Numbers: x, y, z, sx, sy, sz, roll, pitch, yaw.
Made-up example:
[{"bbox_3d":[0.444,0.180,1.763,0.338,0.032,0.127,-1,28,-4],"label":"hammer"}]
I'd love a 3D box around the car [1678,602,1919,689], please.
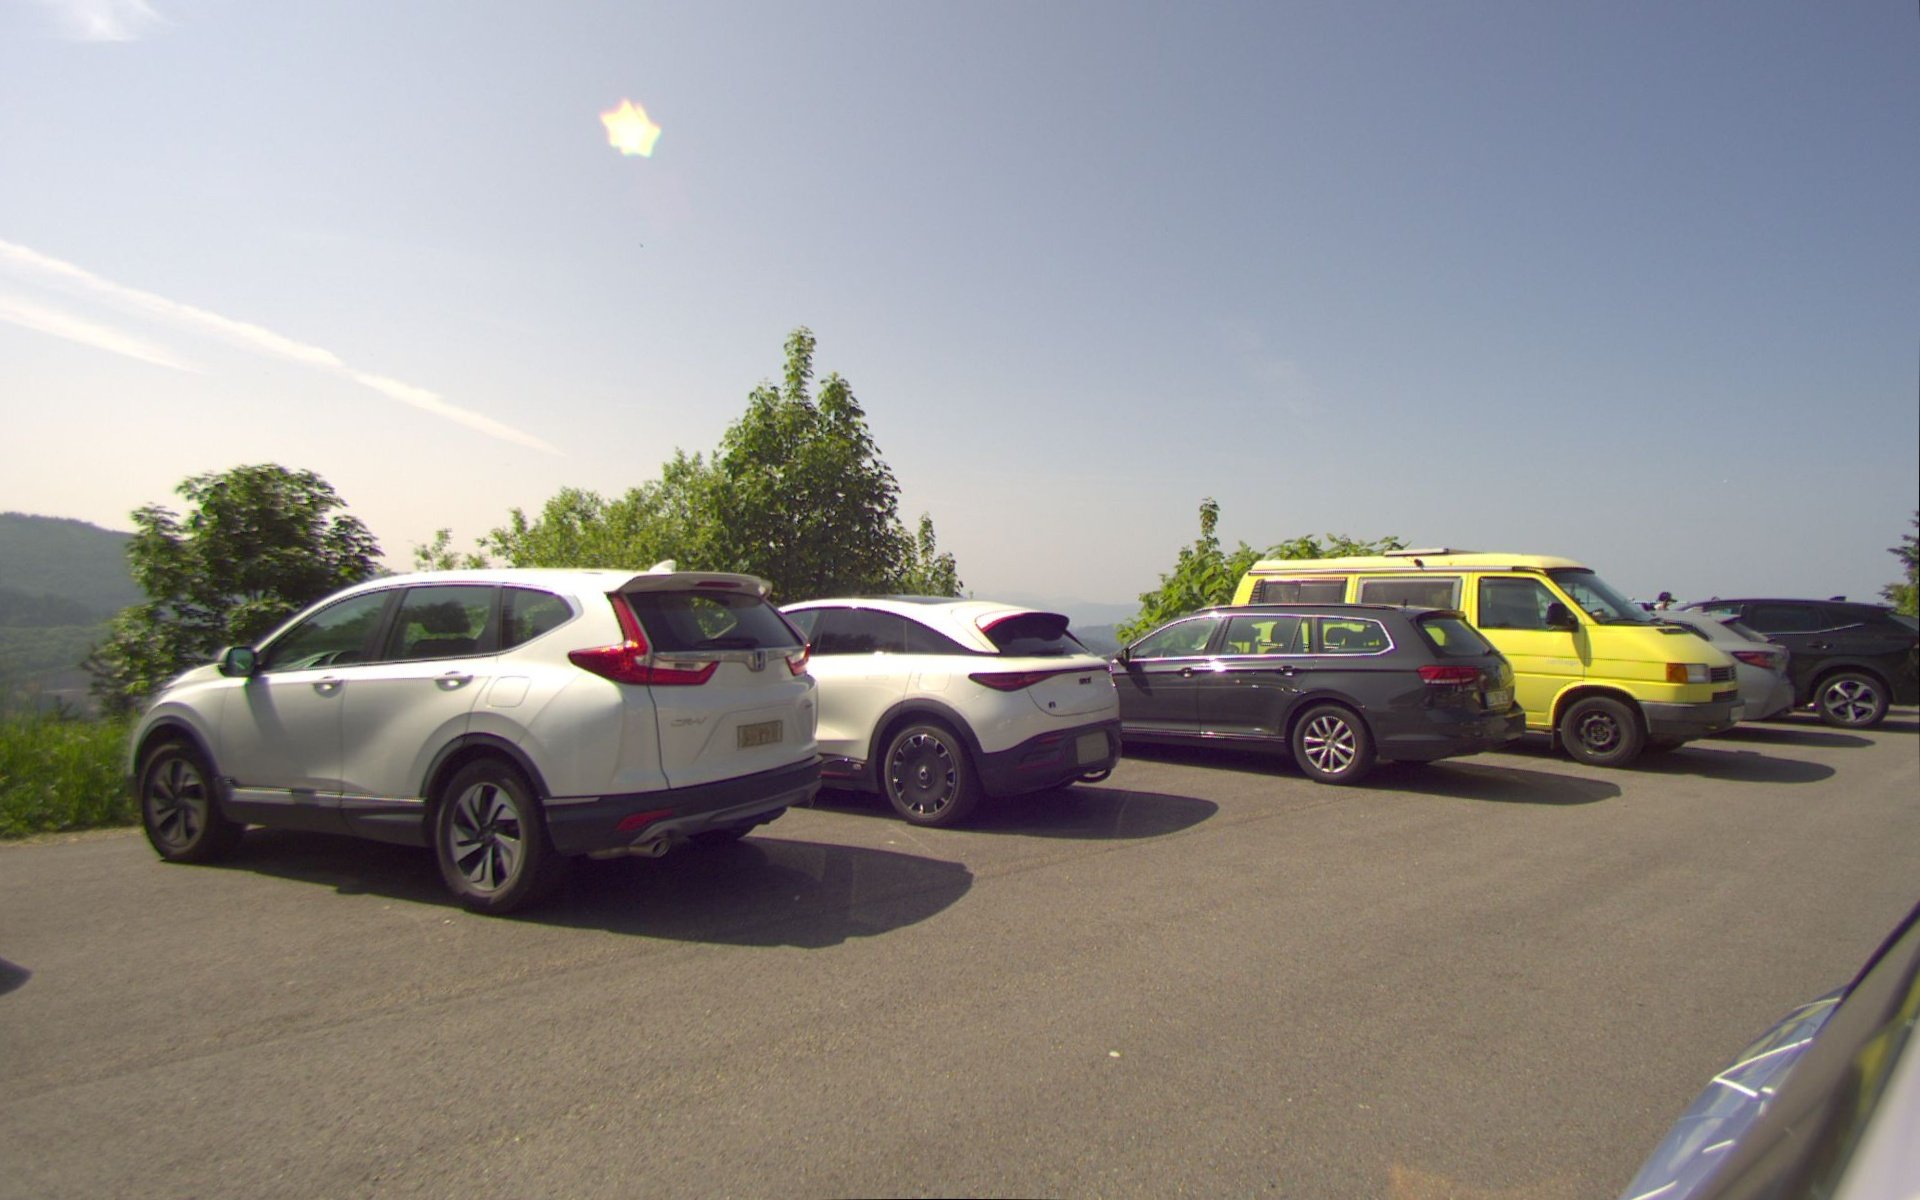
[{"bbox_3d":[17.010,0.844,20.089,4.390,1.588,1.880,0,-1,40],"label":"car"}]

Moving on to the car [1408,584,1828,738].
[{"bbox_3d":[8.066,0.642,12.730,1.675,1.609,4.157,1,-1,-41],"label":"car"}]

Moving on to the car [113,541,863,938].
[{"bbox_3d":[-2.838,0.627,6.030,4.142,1.671,1.875,-1,-1,26],"label":"car"}]

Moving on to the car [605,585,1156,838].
[{"bbox_3d":[-0.721,0.657,8.024,4.070,1.519,1.921,0,0,34],"label":"car"}]

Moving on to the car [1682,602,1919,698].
[{"bbox_3d":[15.397,0.846,18.141,3.976,1.529,1.818,1,-1,36],"label":"car"}]

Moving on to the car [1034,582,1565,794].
[{"bbox_3d":[2.890,0.684,9.393,1.782,1.507,4.353,2,-2,-44],"label":"car"}]

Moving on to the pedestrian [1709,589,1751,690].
[{"bbox_3d":[13.542,0.688,17.812,0.501,1.747,0.560,-1,-1,33],"label":"pedestrian"}]

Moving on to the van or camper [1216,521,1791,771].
[{"bbox_3d":[5.426,0.438,10.842,1.849,2.040,5.099,2,-2,-40],"label":"van or camper"}]

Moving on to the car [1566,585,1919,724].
[{"bbox_3d":[10.667,0.638,13.716,3.982,1.634,1.888,0,0,40],"label":"car"}]

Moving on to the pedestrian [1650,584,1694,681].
[{"bbox_3d":[14.447,0.646,20.527,0.608,1.924,0.668,-1,-2,44],"label":"pedestrian"}]
